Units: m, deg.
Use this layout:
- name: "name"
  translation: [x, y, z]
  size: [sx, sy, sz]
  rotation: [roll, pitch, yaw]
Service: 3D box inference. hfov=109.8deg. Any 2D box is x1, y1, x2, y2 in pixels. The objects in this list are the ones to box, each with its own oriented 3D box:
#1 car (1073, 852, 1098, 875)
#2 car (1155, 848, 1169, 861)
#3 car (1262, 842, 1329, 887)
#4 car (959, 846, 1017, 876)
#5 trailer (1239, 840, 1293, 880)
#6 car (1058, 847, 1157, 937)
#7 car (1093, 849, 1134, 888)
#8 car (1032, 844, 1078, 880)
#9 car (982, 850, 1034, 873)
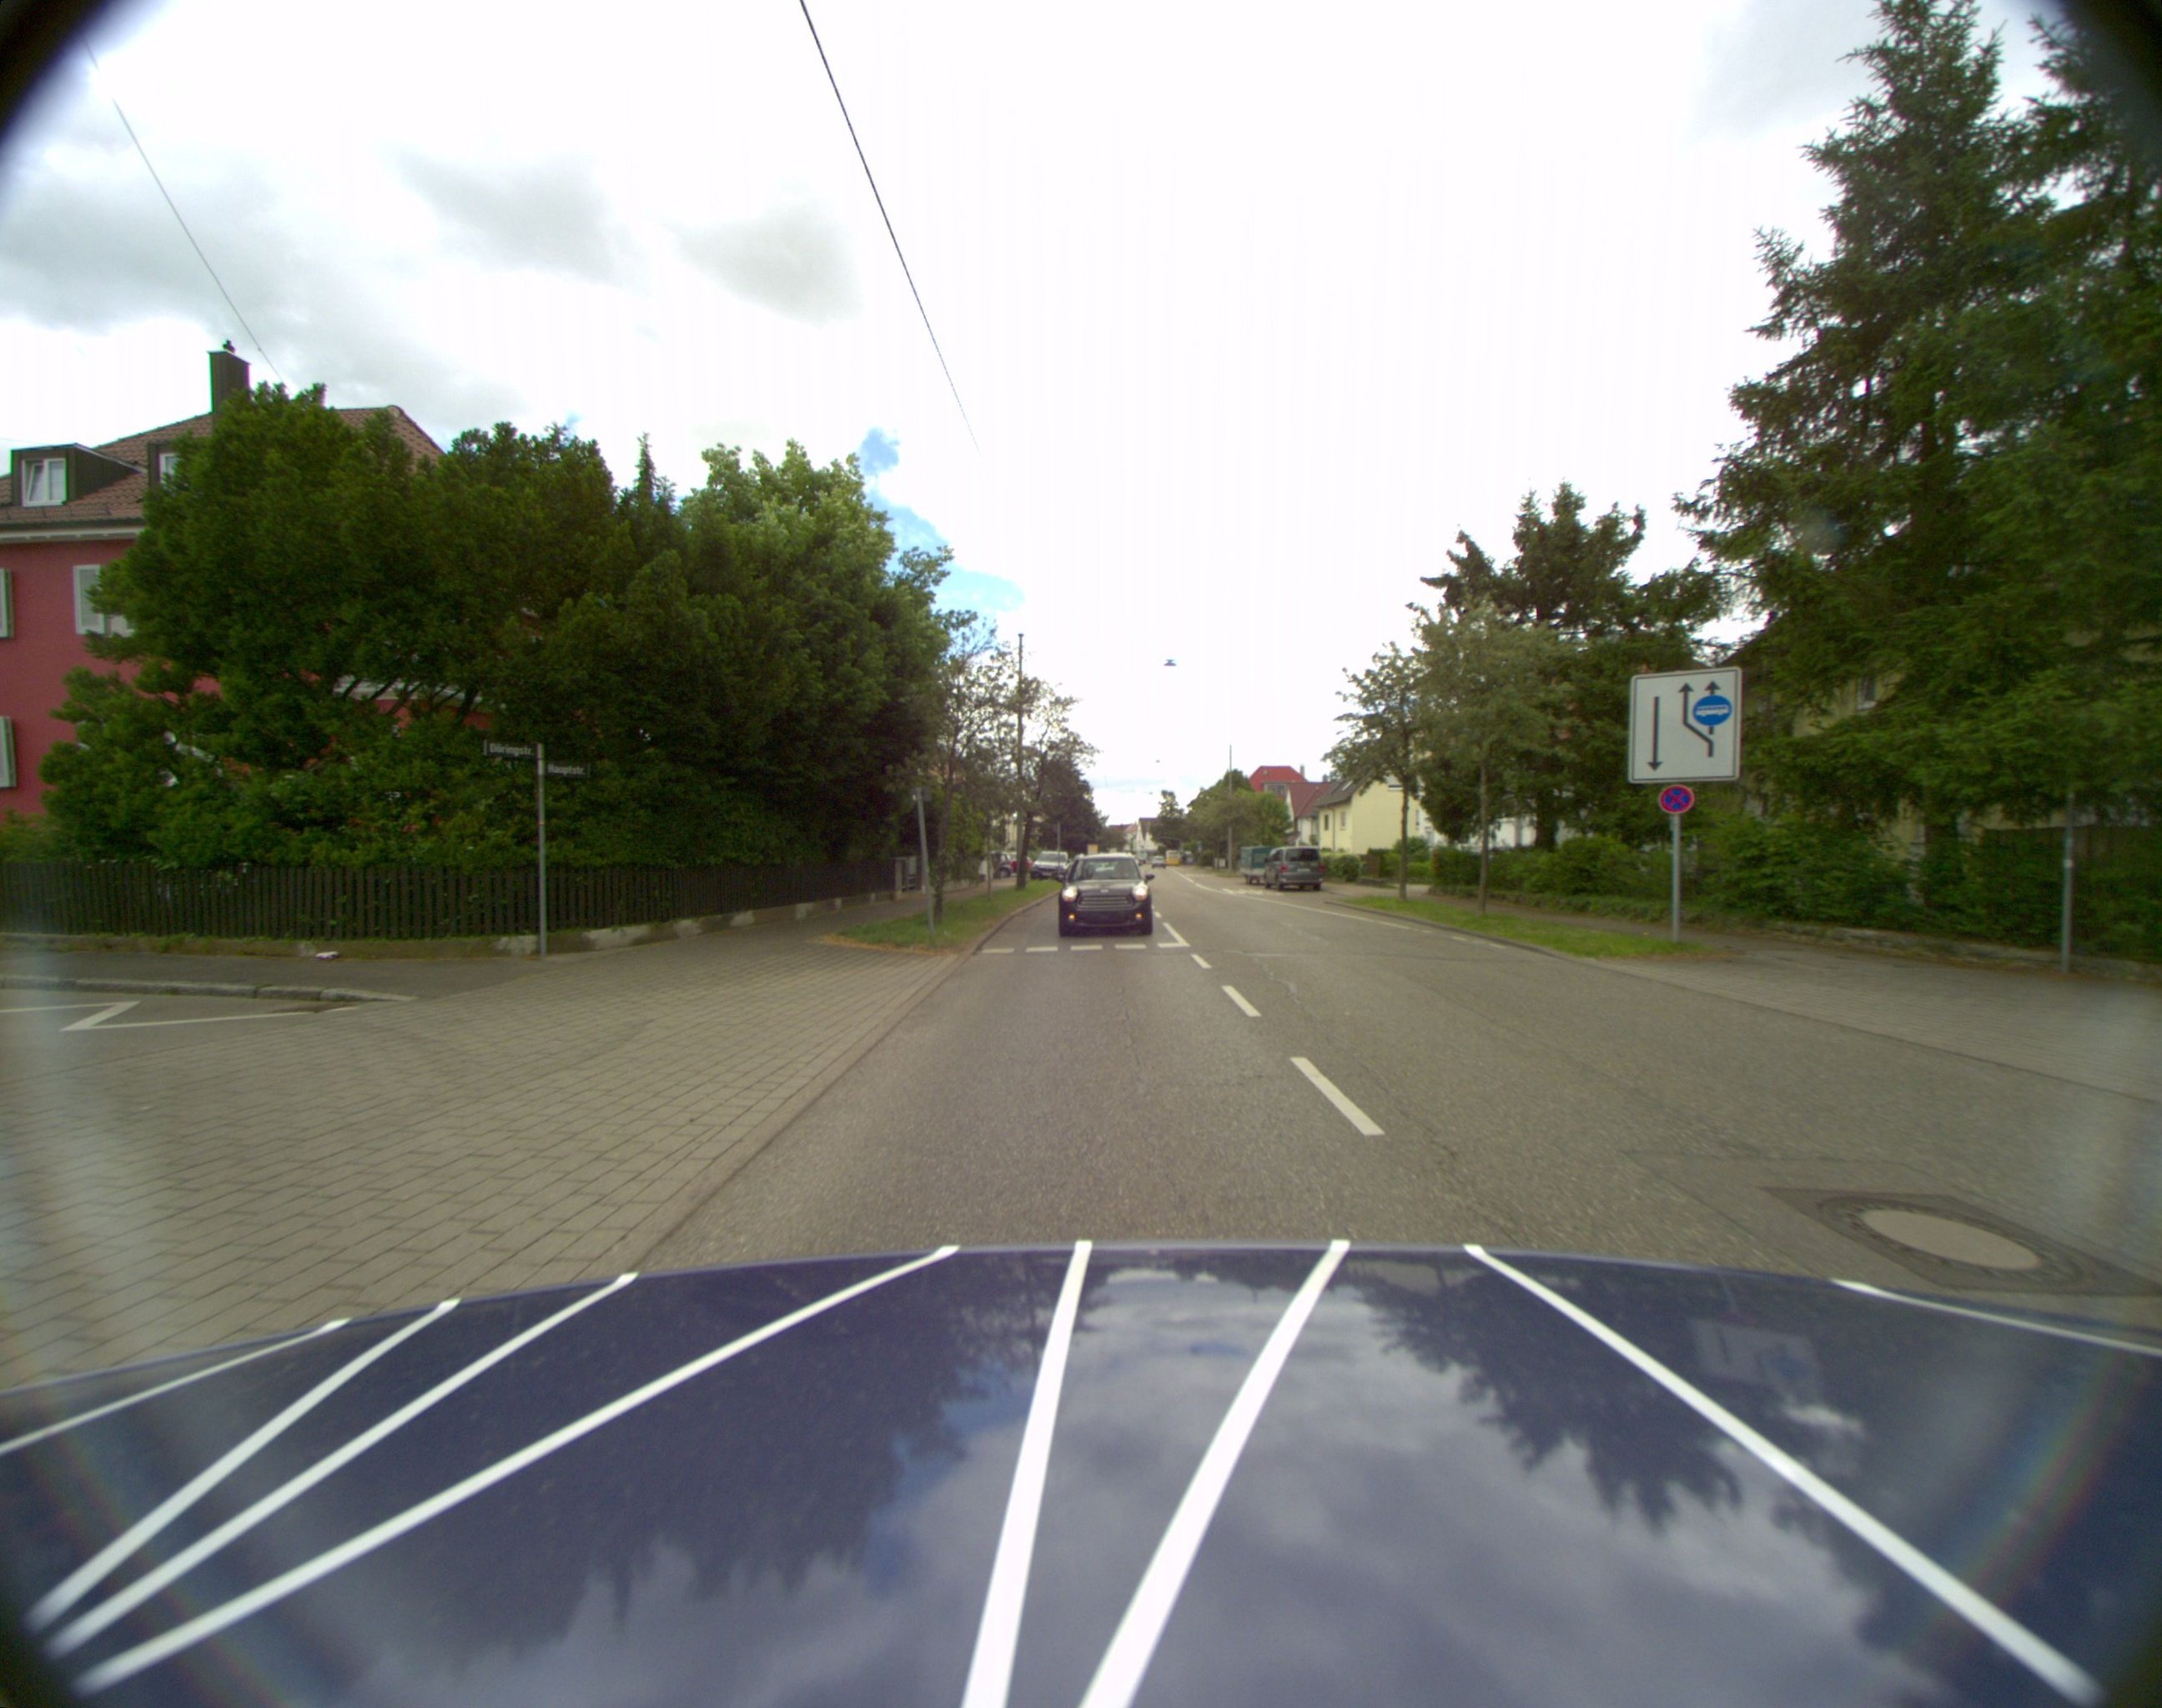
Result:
- name: "car"
  translation: [0.399, 0.697, 58.088]
  size: [1.728, 1.582, 4.157]
  rotation: [1, 0, 2]
- name: "car"
  translation: [10.778, 0.059, 101.161]
  size: [1.825, 1.594, 4.300]
  rotation: [2, 1, 6]
- name: "car"
  translation: [9.804, 0.444, 35.102]
  size: [1.998, 1.938, 4.899]
  rotation: [0, 0, 4]
- name: "car"
  translation: [-5.745, 0.423, 47.273]
  size: [3.360, 1.624, 1.580]
  rotation: [3, 1, 0]
- name: "trailer"
  translation: [10.202, 0.302, 42.172]
  size: [2.159, 2.076, 4.426]
  rotation: [0, 0, 4]
- name: "car"
  translation: [0.625, 0.679, 15.400]
  size: [1.743, 1.573, 3.686]
  rotation: [-1, 0, 5]
- name: "car"
  translation: [1.456, 0.576, 32.976]
  size: [1.589, 1.598, 3.686]
  rotation: [0, 0, 5]
- name: "car"
  translation: [-1.365, 0.414, 41.871]
  size: [1.902, 1.826, 4.917]
  rotation: [1, 0, 6]
- name: "car"
  translation: [-4.790, 0.461, 50.303]
  size: [3.361, 1.451, 1.749]
  rotation: [1, 1, -3]
